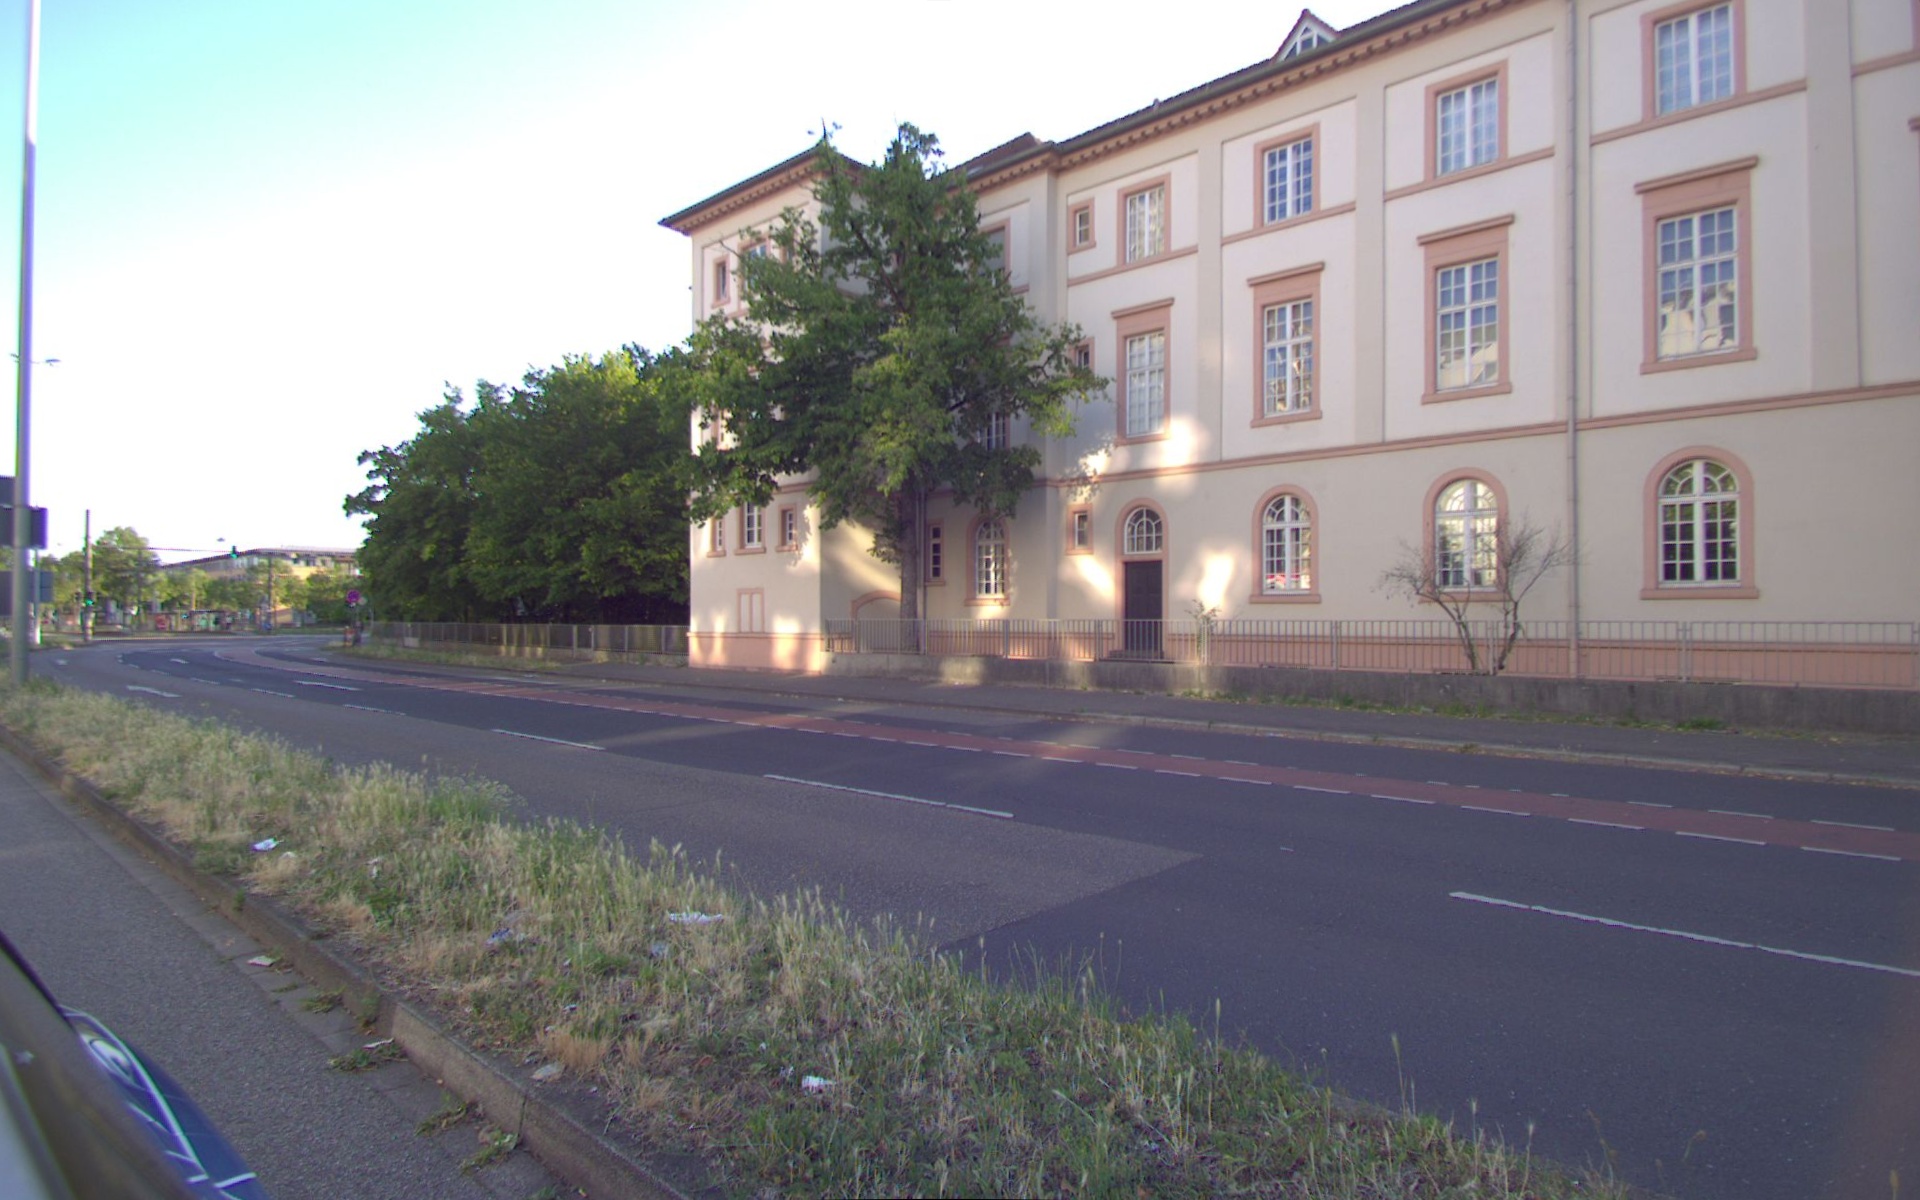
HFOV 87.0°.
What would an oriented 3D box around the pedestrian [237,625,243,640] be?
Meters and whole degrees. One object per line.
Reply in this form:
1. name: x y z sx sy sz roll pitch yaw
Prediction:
1. pedestrian: -81.354 3.657 114.392 0.419 1.718 0.461 -2 -2 41
